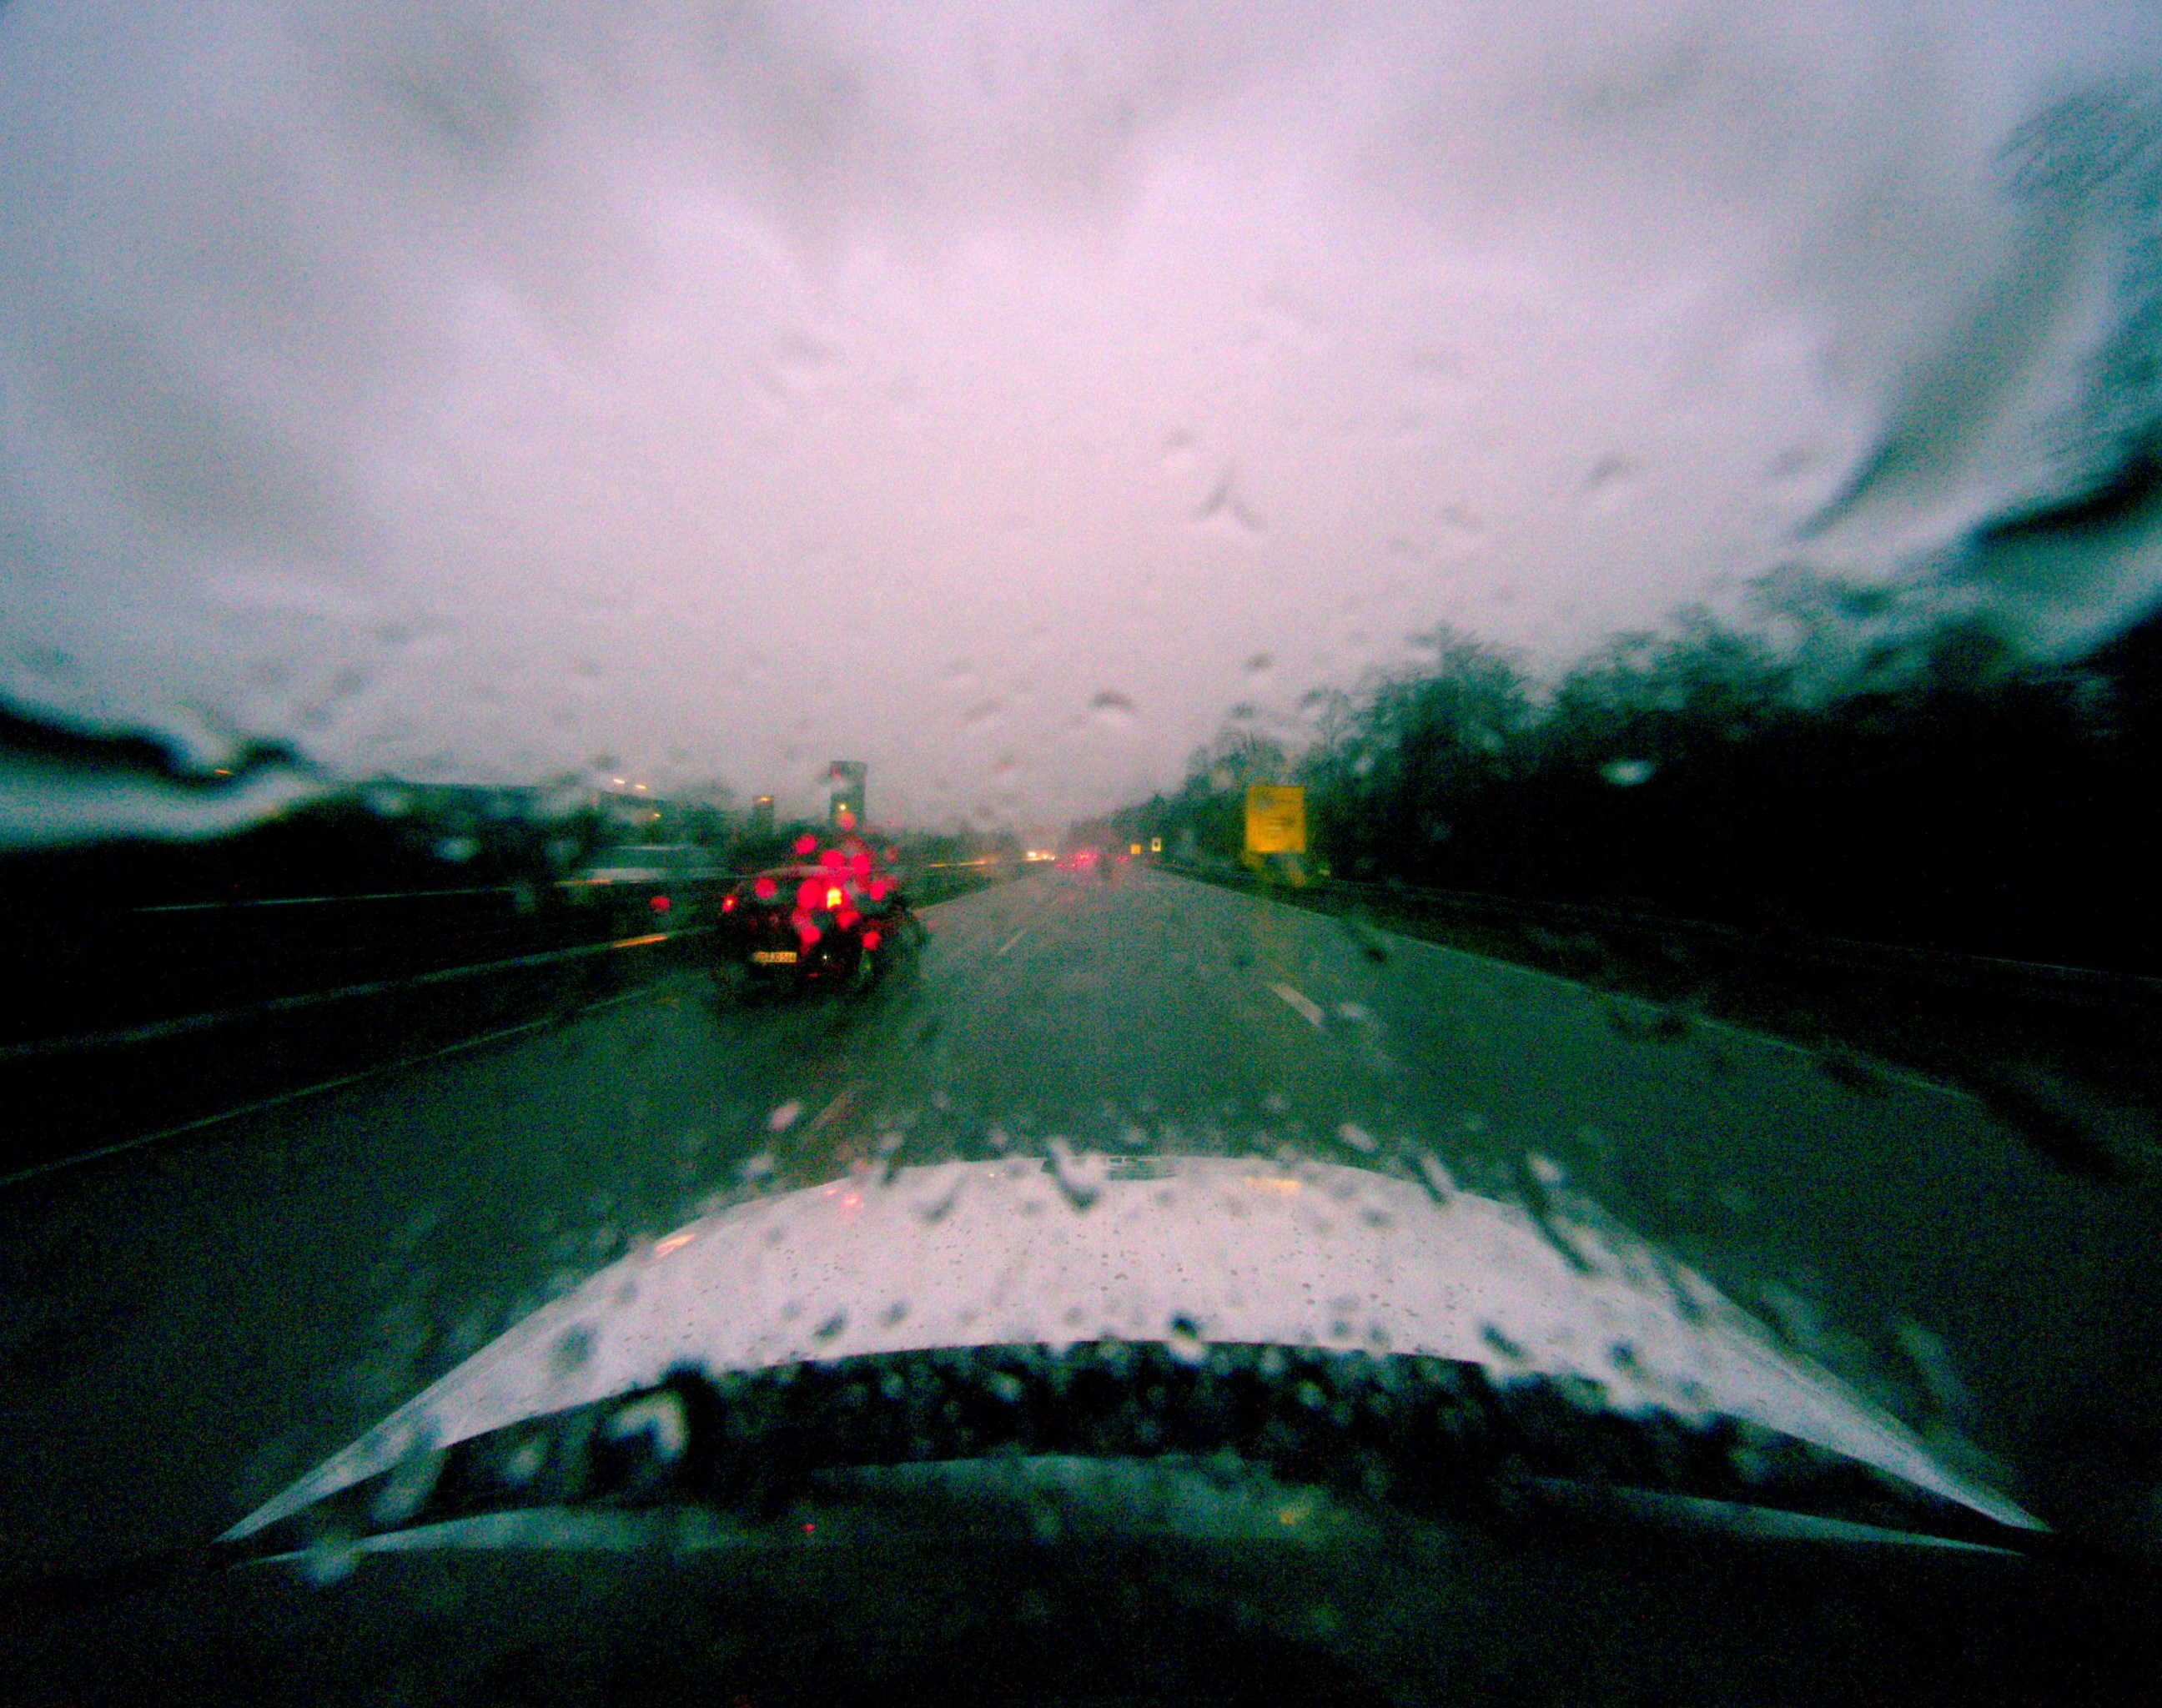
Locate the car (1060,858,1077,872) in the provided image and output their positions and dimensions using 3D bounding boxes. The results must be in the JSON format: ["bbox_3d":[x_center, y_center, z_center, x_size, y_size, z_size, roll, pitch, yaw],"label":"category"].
[{"bbox_3d":[-1.170,1.029,77.495,1.410,1.317,3.084,1,0,2],"label":"car"}]

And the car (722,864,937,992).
[{"bbox_3d":[-3.164,0.852,11.115,1.620,1.392,4.000,1,-1,1],"label":"car"}]

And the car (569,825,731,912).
[{"bbox_3d":[-12.487,0.529,24.056,1.920,2.297,4.889,0,-3,2],"label":"car"}]
